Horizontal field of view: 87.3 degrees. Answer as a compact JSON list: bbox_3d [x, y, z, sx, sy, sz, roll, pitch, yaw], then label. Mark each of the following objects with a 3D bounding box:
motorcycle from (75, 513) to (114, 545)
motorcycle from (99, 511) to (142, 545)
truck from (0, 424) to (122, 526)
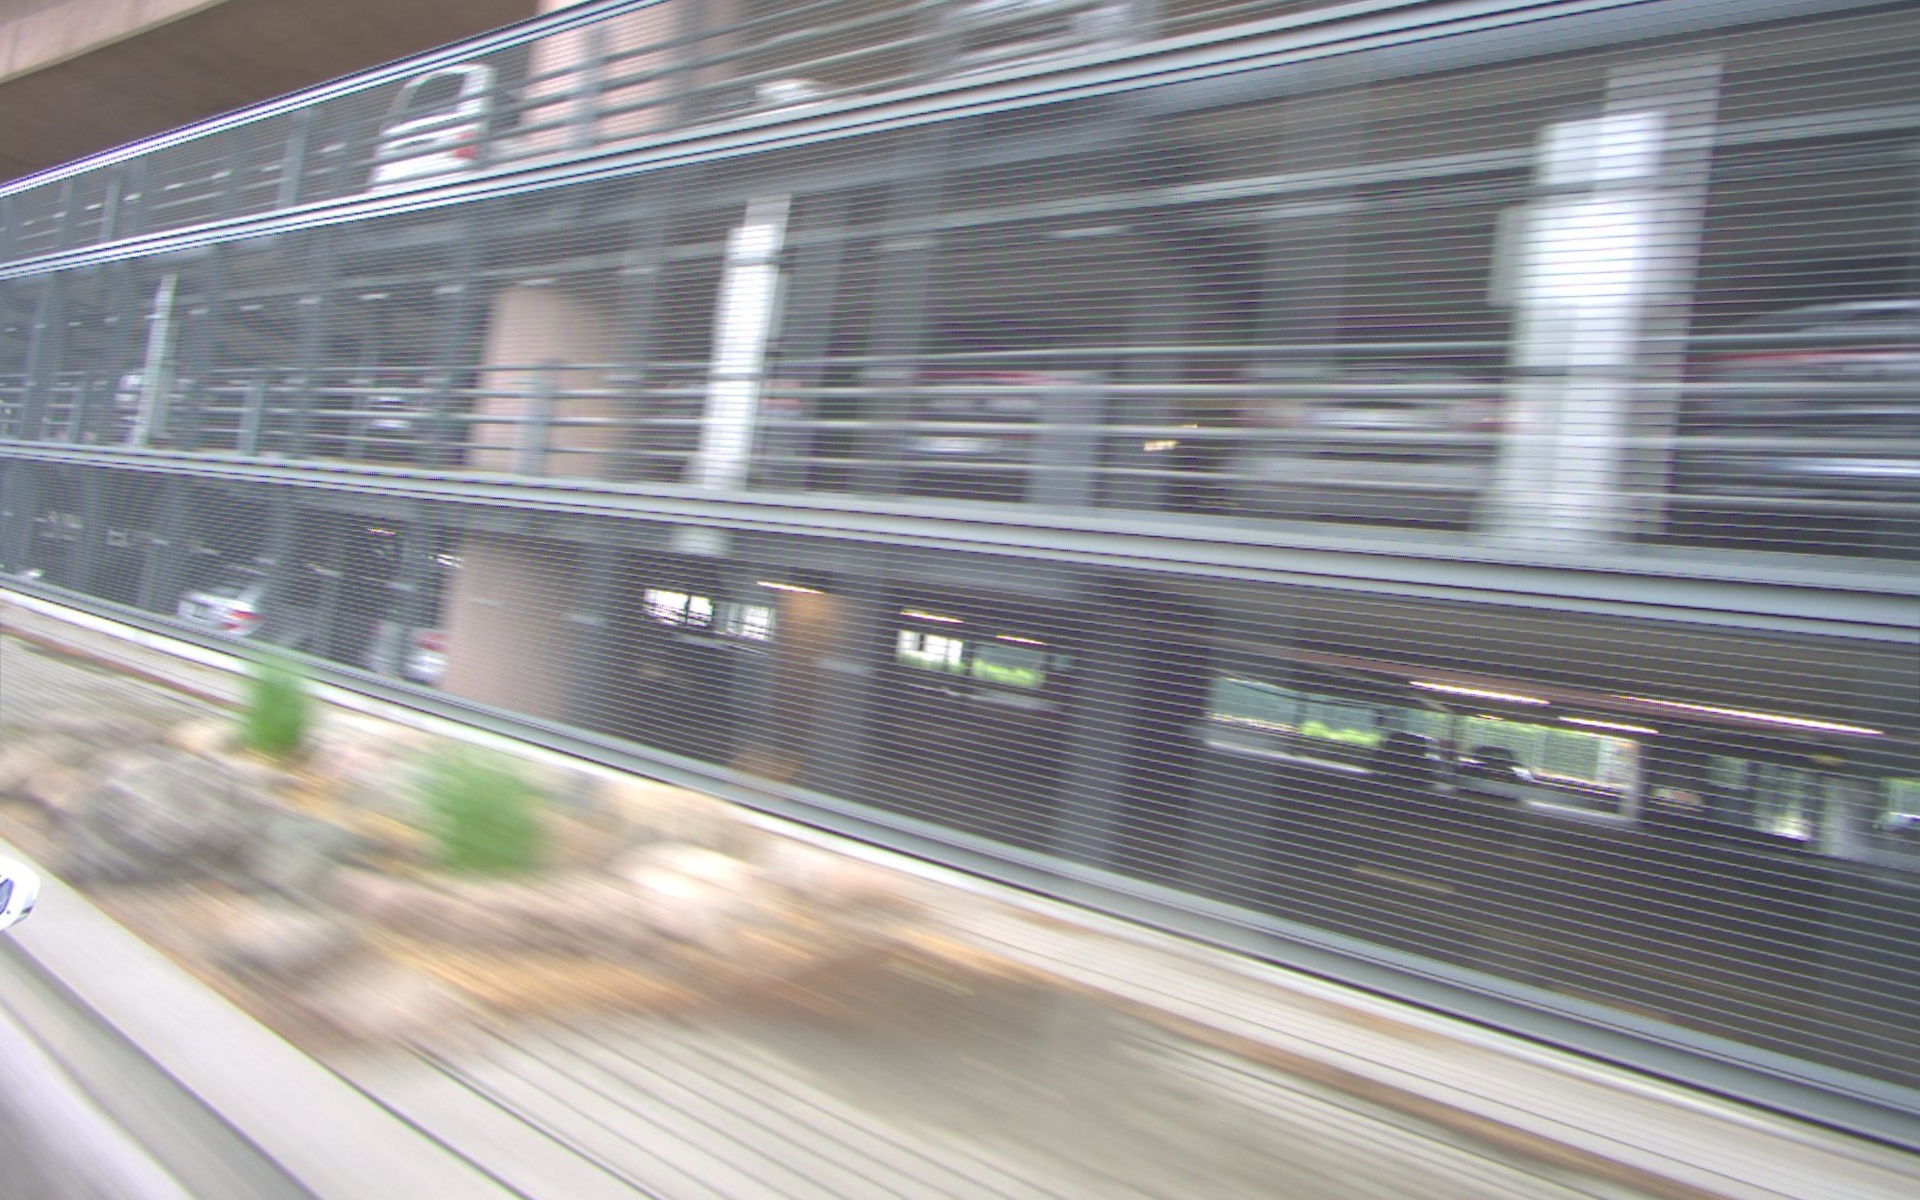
[{"bbox_3d":[-37.670,-3.091,43.773,2.291,1.118,0.544,8,-1,32],"label":"motorcycle"},{"bbox_3d":[-37.617,-3.224,45.070,2.289,1.118,0.573,12,1,29],"label":"motorcycle"},{"bbox_3d":[-55.835,-7.516,61.531,3.102,4.982,9.690,8,-1,-17],"label":"truck"}]
